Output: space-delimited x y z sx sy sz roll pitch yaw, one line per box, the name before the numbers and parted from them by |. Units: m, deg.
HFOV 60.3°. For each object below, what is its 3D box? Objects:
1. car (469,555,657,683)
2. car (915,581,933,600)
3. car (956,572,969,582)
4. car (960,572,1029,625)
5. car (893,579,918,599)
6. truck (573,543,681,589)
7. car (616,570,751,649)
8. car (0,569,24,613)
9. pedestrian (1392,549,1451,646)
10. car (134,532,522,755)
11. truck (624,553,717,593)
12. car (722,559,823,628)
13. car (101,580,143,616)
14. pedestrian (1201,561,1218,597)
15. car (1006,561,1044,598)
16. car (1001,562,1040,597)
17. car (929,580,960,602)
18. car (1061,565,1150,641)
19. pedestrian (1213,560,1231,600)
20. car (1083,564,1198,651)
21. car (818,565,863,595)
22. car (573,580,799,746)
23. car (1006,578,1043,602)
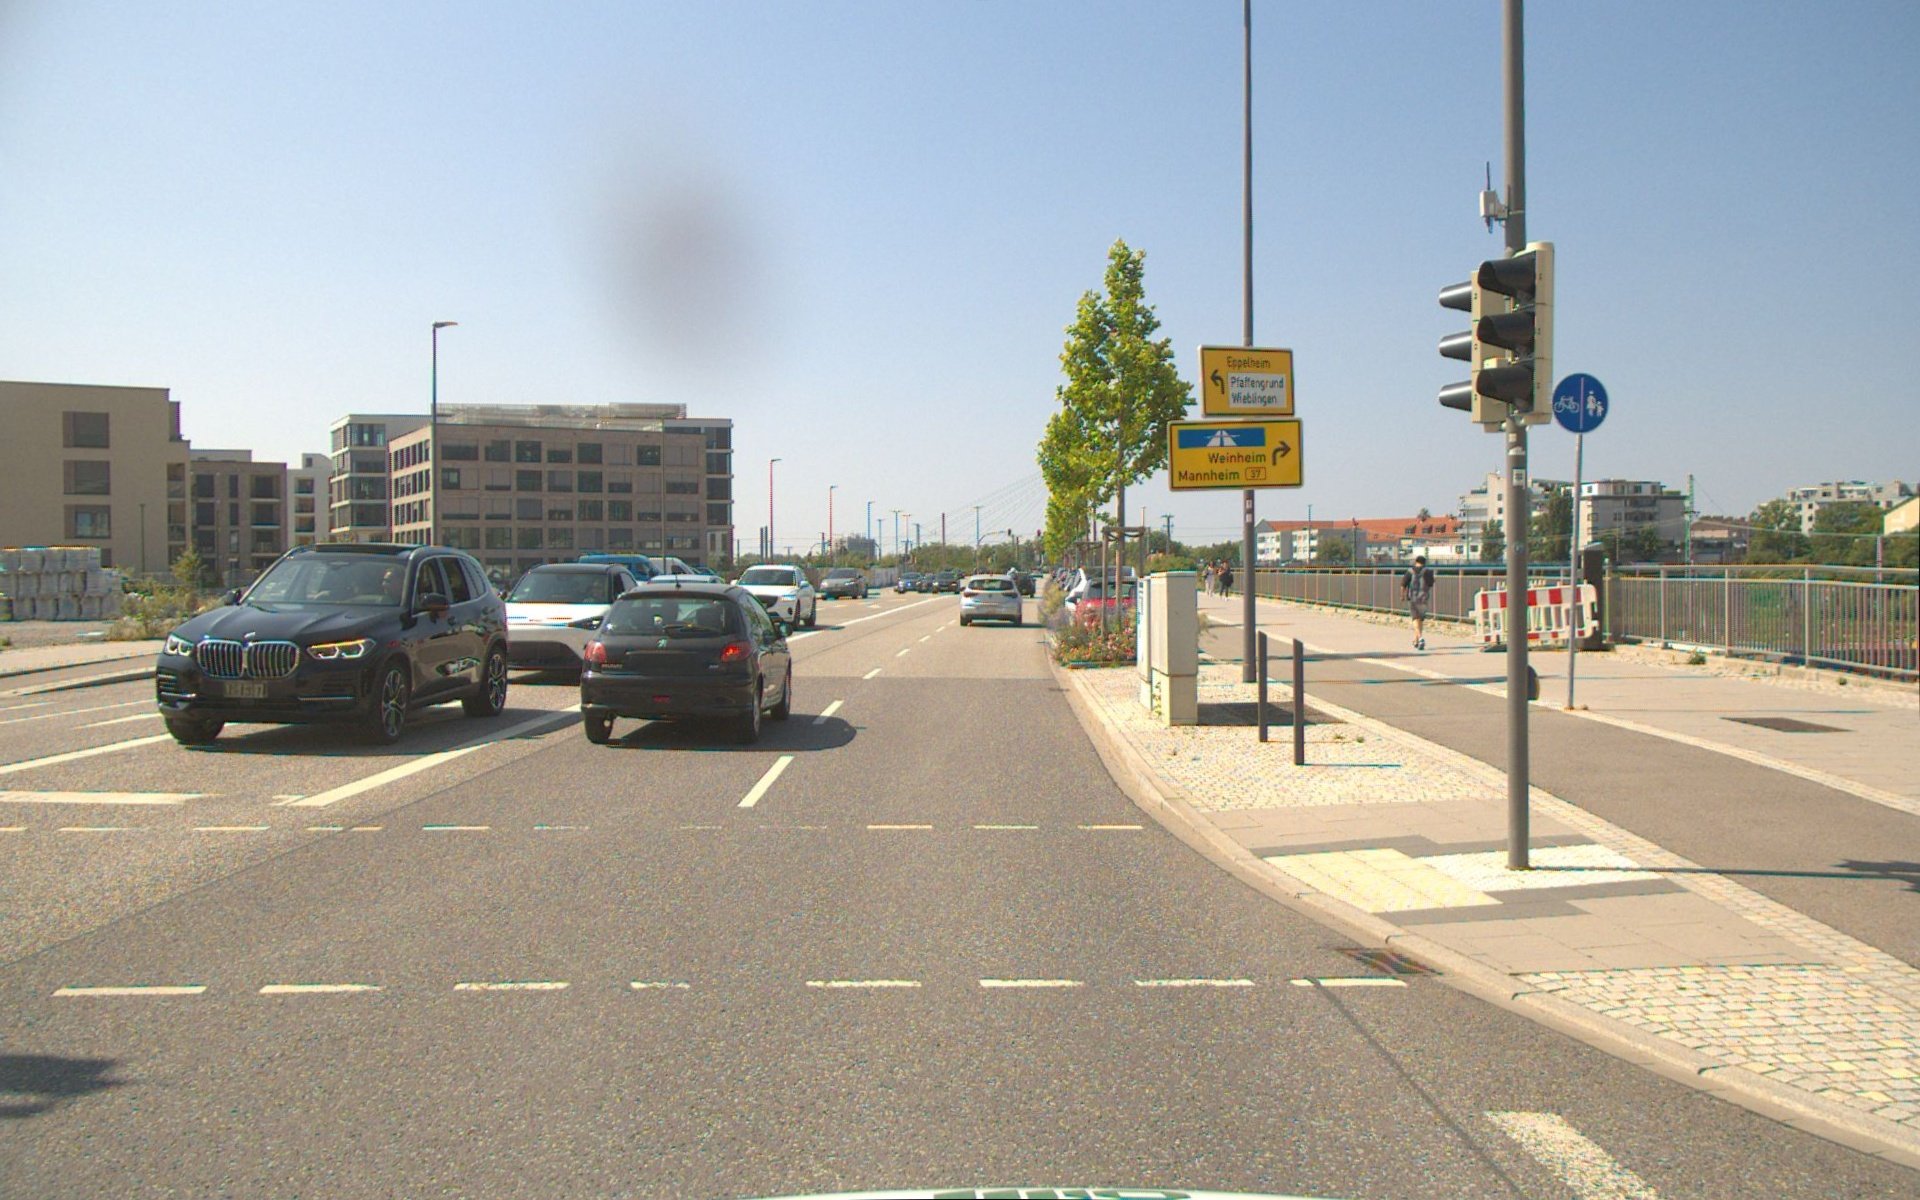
car | -5.715 0.205 24.288 1.742 1.711 4.100 0 1 0
car | -3.192 -0.844 146.435 1.547 1.590 3.673 1 0 -1
car | 0.408 -3.302 239.808 1.668 1.375 4.458 -1 0 3
car | 1.063 -0.054 48.542 1.740 1.467 4.003 0 0 5
car | -4.010 -0.817 122.313 1.757 1.441 3.999 1 0 -1
truck | -19.656 -1.998 97.864 5.881 2.587 2.275 -1 1 0
car | -5.390 0.165 32.754 1.748 1.446 4.284 1 0 3
car | -51.230 -0.483 88.381 1.974 2.279 3.956 0 1 -32
pedestrian | 8.070 -0.051 28.965 0.735 1.637 0.949 -3 1 3
car | -5.884 0.300 16.102 1.899 1.819 4.657 1 1 1
truck | -18.375 -1.729 105.098 5.451 2.404 2.276 -1 1 1
car | -4.924 -0.209 44.062 1.873 1.678 4.733 2 1 3
car | -45.784 -0.140 90.412 1.969 1.881 3.967 0 1 -26
pedestrian | 12.201 -1.020 80.904 0.764 1.735 0.742 0 0 3
car | 3.222 -0.991 81.415 1.755 1.780 4.002 0 0 3
car | 2.981 -0.972 81.094 1.740 1.596 4.002 1 0 4
car | -1.062 -0.657 113.517 1.750 1.422 4.574 0 1 4
car | 3.353 0.049 38.811 1.833 1.655 4.878 0 0 2
pedestrian | 11.383 -0.854 71.840 0.716 1.735 0.651 1 -1 3
car | 3.406 0.099 31.861 1.952 1.545 4.002 1 1 3
car | -6.123 -0.996 85.039 1.854 1.440 3.599 1 0 3
car | -2.590 0.537 16.402 1.586 1.441 3.727 0 0 0
car | 3.667 -0.604 95.041 1.601 1.333 3.995 0 0 -6
